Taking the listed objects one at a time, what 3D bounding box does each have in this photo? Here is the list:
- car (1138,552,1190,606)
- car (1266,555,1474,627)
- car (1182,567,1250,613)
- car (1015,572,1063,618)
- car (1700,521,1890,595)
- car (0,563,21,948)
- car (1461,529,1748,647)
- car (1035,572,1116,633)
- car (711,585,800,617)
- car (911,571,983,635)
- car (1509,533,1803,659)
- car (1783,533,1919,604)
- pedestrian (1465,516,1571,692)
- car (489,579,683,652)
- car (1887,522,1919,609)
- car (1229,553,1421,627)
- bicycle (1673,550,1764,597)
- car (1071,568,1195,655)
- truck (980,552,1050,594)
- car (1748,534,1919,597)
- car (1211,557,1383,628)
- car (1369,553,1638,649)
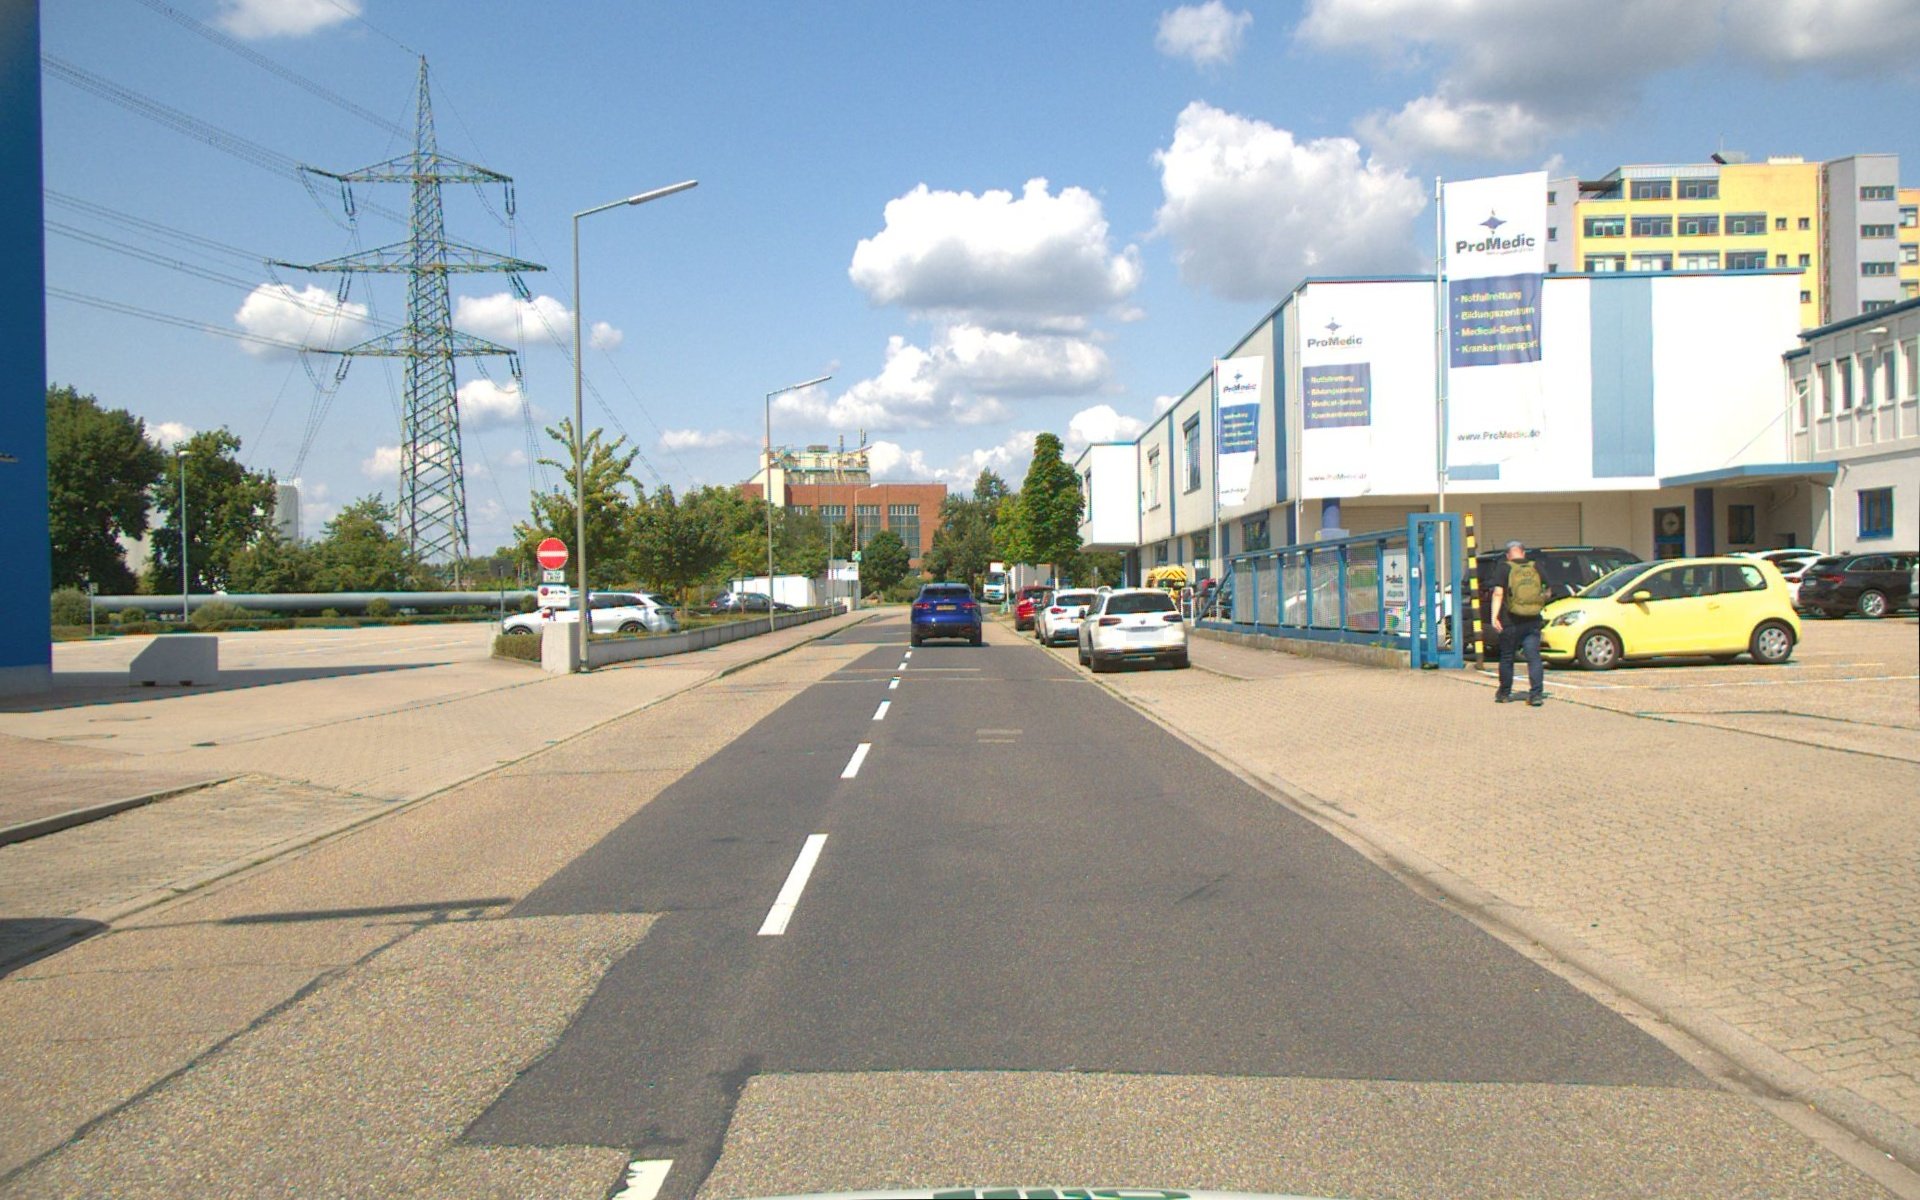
[{"bbox_3d":[9.963,-1.002,81.069,1.884,2.507,5.259,-1,0,0],"label":"car"},{"bbox_3d":[9.221,-0.213,37.445,4.192,1.445,2.000,-2,1,0],"label":"car"},{"bbox_3d":[10.071,-0.379,65.338,1.953,1.686,4.289,-1,-1,0],"label":"car"},{"bbox_3d":[3.003,-0.206,63.434,1.718,1.679,4.678,-1,0,1],"label":"car"},{"bbox_3d":[21.481,-1.067,42.626,3.975,1.770,1.806,-1,1,-1],"label":"car"},{"bbox_3d":[-5.205,0.714,5.221,1.830,1.738,4.752,0,0,-1],"label":"car"},{"bbox_3d":[9.896,-0.184,25.589,3.729,1.709,1.791,-1,0,-1],"label":"car"},{"bbox_3d":[3.061,0.061,44.557,1.798,1.547,4.460,-1,0,-1],"label":"car"},{"bbox_3d":[-9.582,0.037,77.624,3.906,1.400,1.803,-1,1,-1],"label":"car"},{"bbox_3d":[-0.375,0.070,45.286,1.871,1.621,4.700,-1,0,-1],"label":"car"},{"bbox_3d":[9.723,-0.057,23.288,3.335,1.516,1.791,-3,0,-1],"label":"car"},{"bbox_3d":[21.317,-0.746,37.943,3.906,1.534,1.934,-1,1,-2],"label":"car"},{"bbox_3d":[5.913,0.041,17.559,0.754,1.787,0.787,-3,0,-1],"label":"pedestrian"},{"bbox_3d":[-9.767,0.389,43.508,4.661,1.630,1.998,-3,0,-4],"label":"car"},{"bbox_3d":[21.016,-0.730,33.028,3.906,1.731,1.934,-1,1,-1],"label":"car"},{"bbox_3d":[8.835,-0.249,40.278,4.141,1.676,2.147,-1,1,-2],"label":"car"},{"bbox_3d":[20.731,-0.717,45.224,2.179,1.233,0.641,-1,0,-1],"label":"bicycle"},{"bbox_3d":[3.272,0.196,32.113,1.830,1.547,4.597,-1,0,-1],"label":"car"},{"bbox_3d":[5.052,-2.508,149.728,2.278,3.629,9.351,1,2,30],"label":"truck"},{"bbox_3d":[21.607,-0.849,40.368,3.906,1.424,1.806,-1,1,-1],"label":"car"},{"bbox_3d":[8.690,-0.204,42.854,4.002,1.715,1.999,-1,0,-2],"label":"car"},{"bbox_3d":[9.187,0.002,28.198,3.905,1.445,2.000,-2,1,0],"label":"car"}]
